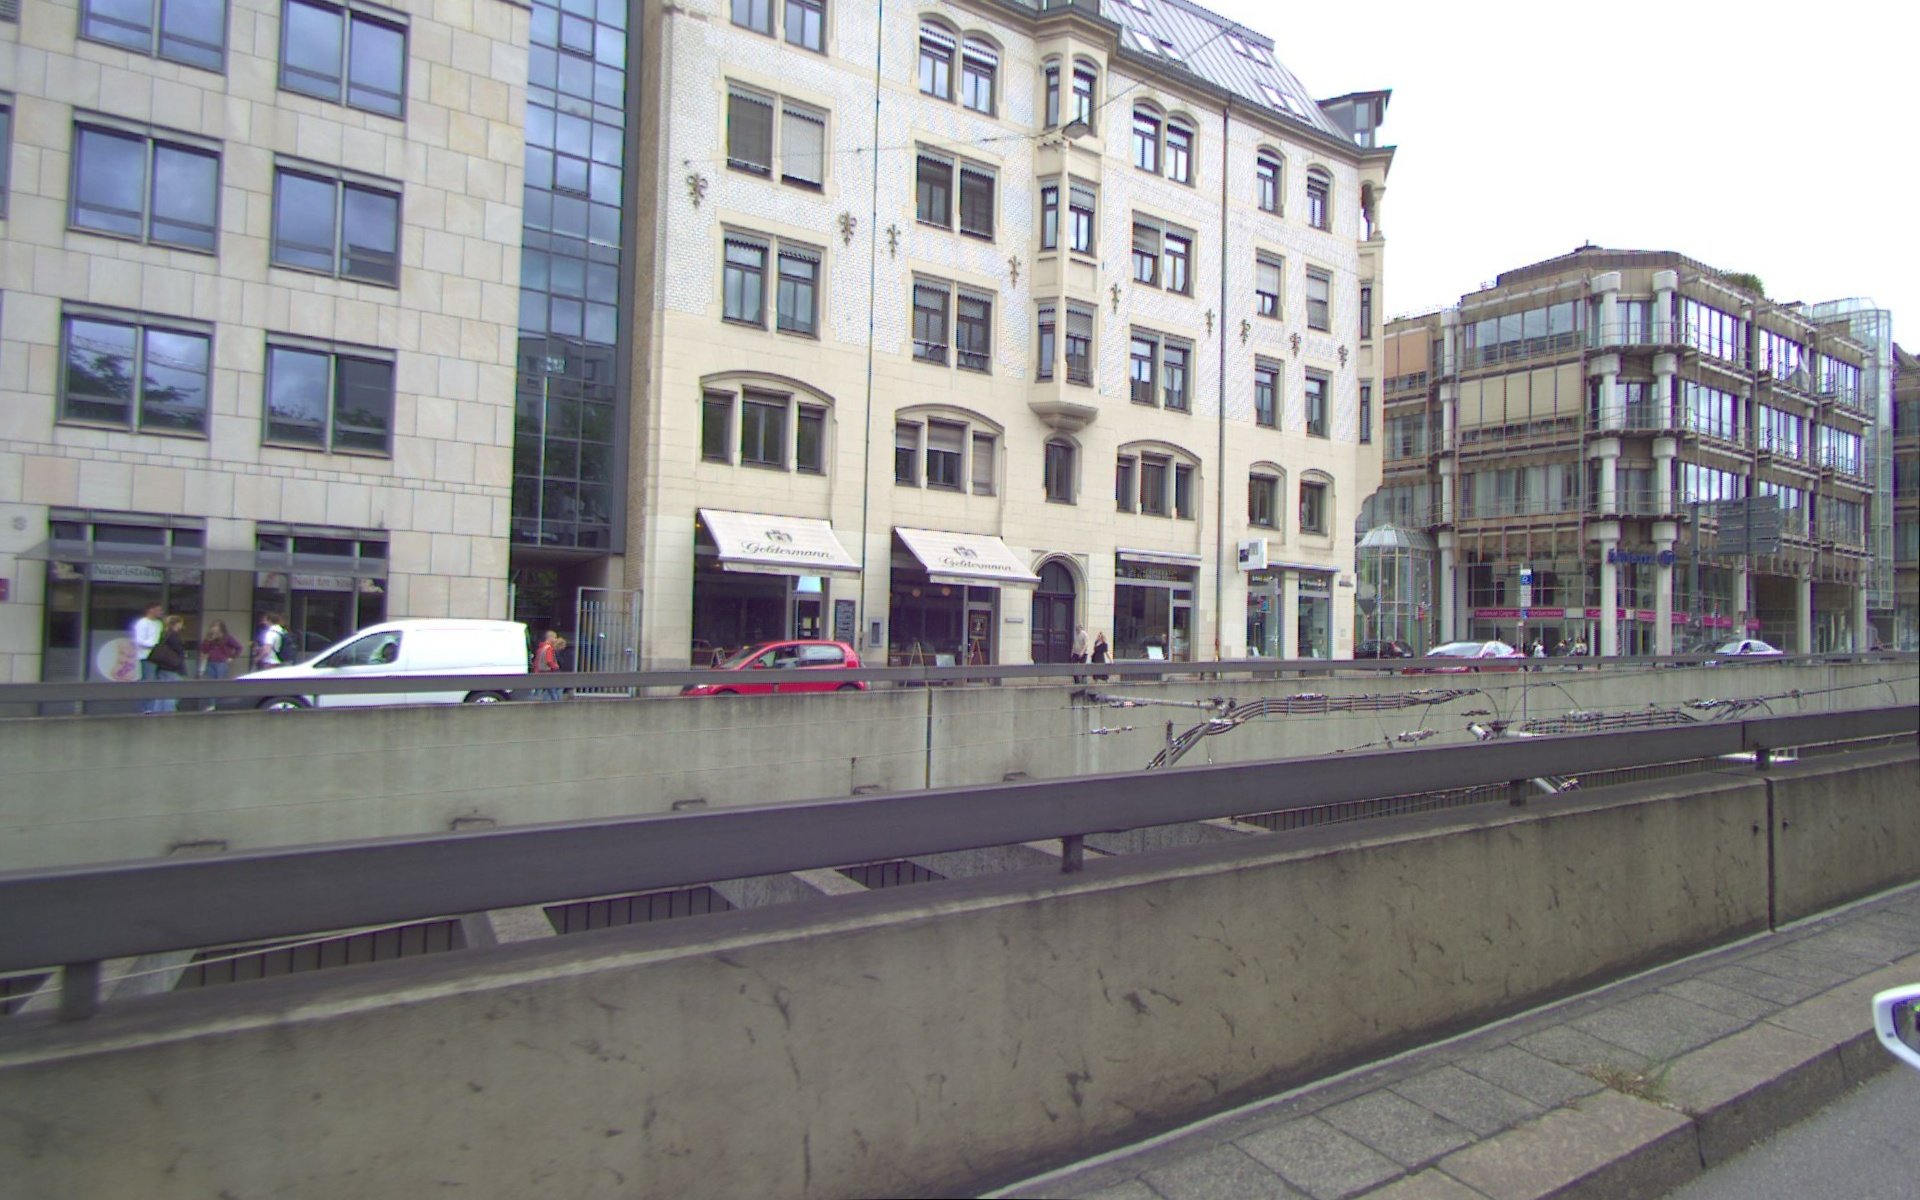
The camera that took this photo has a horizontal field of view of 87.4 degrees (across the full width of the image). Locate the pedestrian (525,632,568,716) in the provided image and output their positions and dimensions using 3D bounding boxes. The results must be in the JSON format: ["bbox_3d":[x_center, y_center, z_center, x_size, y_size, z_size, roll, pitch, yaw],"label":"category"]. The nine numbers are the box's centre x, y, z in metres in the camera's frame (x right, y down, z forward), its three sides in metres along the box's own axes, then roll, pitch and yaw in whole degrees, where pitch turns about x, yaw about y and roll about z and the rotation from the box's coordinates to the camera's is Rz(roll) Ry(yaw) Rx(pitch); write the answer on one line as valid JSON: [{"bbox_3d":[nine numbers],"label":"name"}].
[{"bbox_3d":[-8.045,1.425,19.545,0.704,1.602,0.580,1,-1,-30],"label":"pedestrian"}]

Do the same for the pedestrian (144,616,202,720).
[{"bbox_3d":[-13.390,1.140,17.099,0.672,1.740,0.552,1,-1,-30],"label":"pedestrian"}]

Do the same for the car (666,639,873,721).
[{"bbox_3d":[-3.652,1.468,19.370,3.543,1.424,1.778,1,-2,-32],"label":"car"}]

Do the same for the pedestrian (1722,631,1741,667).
[{"bbox_3d":[38.755,2.444,50.445,0.686,1.816,0.530,1,-1,-30],"label":"pedestrian"}]

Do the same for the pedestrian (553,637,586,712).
[{"bbox_3d":[-7.997,1.505,20.566,0.535,1.494,0.546,1,-1,-30],"label":"pedestrian"}]

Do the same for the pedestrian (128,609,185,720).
[{"bbox_3d":[-14.074,1.115,17.618,0.672,1.899,0.613,1,-1,-31],"label":"pedestrian"}]

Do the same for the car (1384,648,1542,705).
[{"bbox_3d":[14.842,2.195,29.585,4.832,1.484,1.983,1,-2,-32],"label":"car"}]

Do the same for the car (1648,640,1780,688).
[{"bbox_3d":[27.401,2.273,36.477,4.826,1.606,1.986,1,-2,-28],"label":"car"}]

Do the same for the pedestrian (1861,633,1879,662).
[{"bbox_3d":[58.348,3.051,64.420,0.707,1.848,0.767,1,-2,-40],"label":"pedestrian"}]

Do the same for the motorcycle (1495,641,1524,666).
[{"bbox_3d":[29.509,2.856,53.908,1.925,1.273,0.784,1,-2,-43],"label":"motorcycle"}]

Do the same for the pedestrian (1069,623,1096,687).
[{"bbox_3d":[3.446,1.533,28.249,0.576,1.780,0.477,1,-2,-29],"label":"pedestrian"}]

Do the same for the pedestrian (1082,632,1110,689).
[{"bbox_3d":[3.760,1.659,27.784,0.575,1.558,0.478,1,-2,-25],"label":"pedestrian"}]

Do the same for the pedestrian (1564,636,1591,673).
[{"bbox_3d":[26.372,2.317,42.895,0.839,1.564,0.695,1,-2,-38],"label":"pedestrian"}]

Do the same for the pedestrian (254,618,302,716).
[{"bbox_3d":[-12.577,1.223,18.550,0.672,1.776,0.549,1,-1,-32],"label":"pedestrian"}]

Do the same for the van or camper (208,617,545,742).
[{"bbox_3d":[-9.222,1.183,16.192,4.436,1.775,1.858,1,-2,-32],"label":"van or camper"}]

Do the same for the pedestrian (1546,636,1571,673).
[{"bbox_3d":[25.909,2.339,43.484,0.839,1.564,0.695,1,-2,-38],"label":"pedestrian"}]

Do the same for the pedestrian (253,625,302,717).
[{"bbox_3d":[-12.095,1.243,17.815,0.672,1.597,0.549,1,-1,-32],"label":"pedestrian"}]

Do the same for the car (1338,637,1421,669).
[{"bbox_3d":[20.402,2.563,48.959,1.631,1.455,3.429,1,-2,-31],"label":"car"}]

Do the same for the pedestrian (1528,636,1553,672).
[{"bbox_3d":[25.476,2.365,44.095,0.839,1.564,0.695,1,-2,-38],"label":"pedestrian"}]
